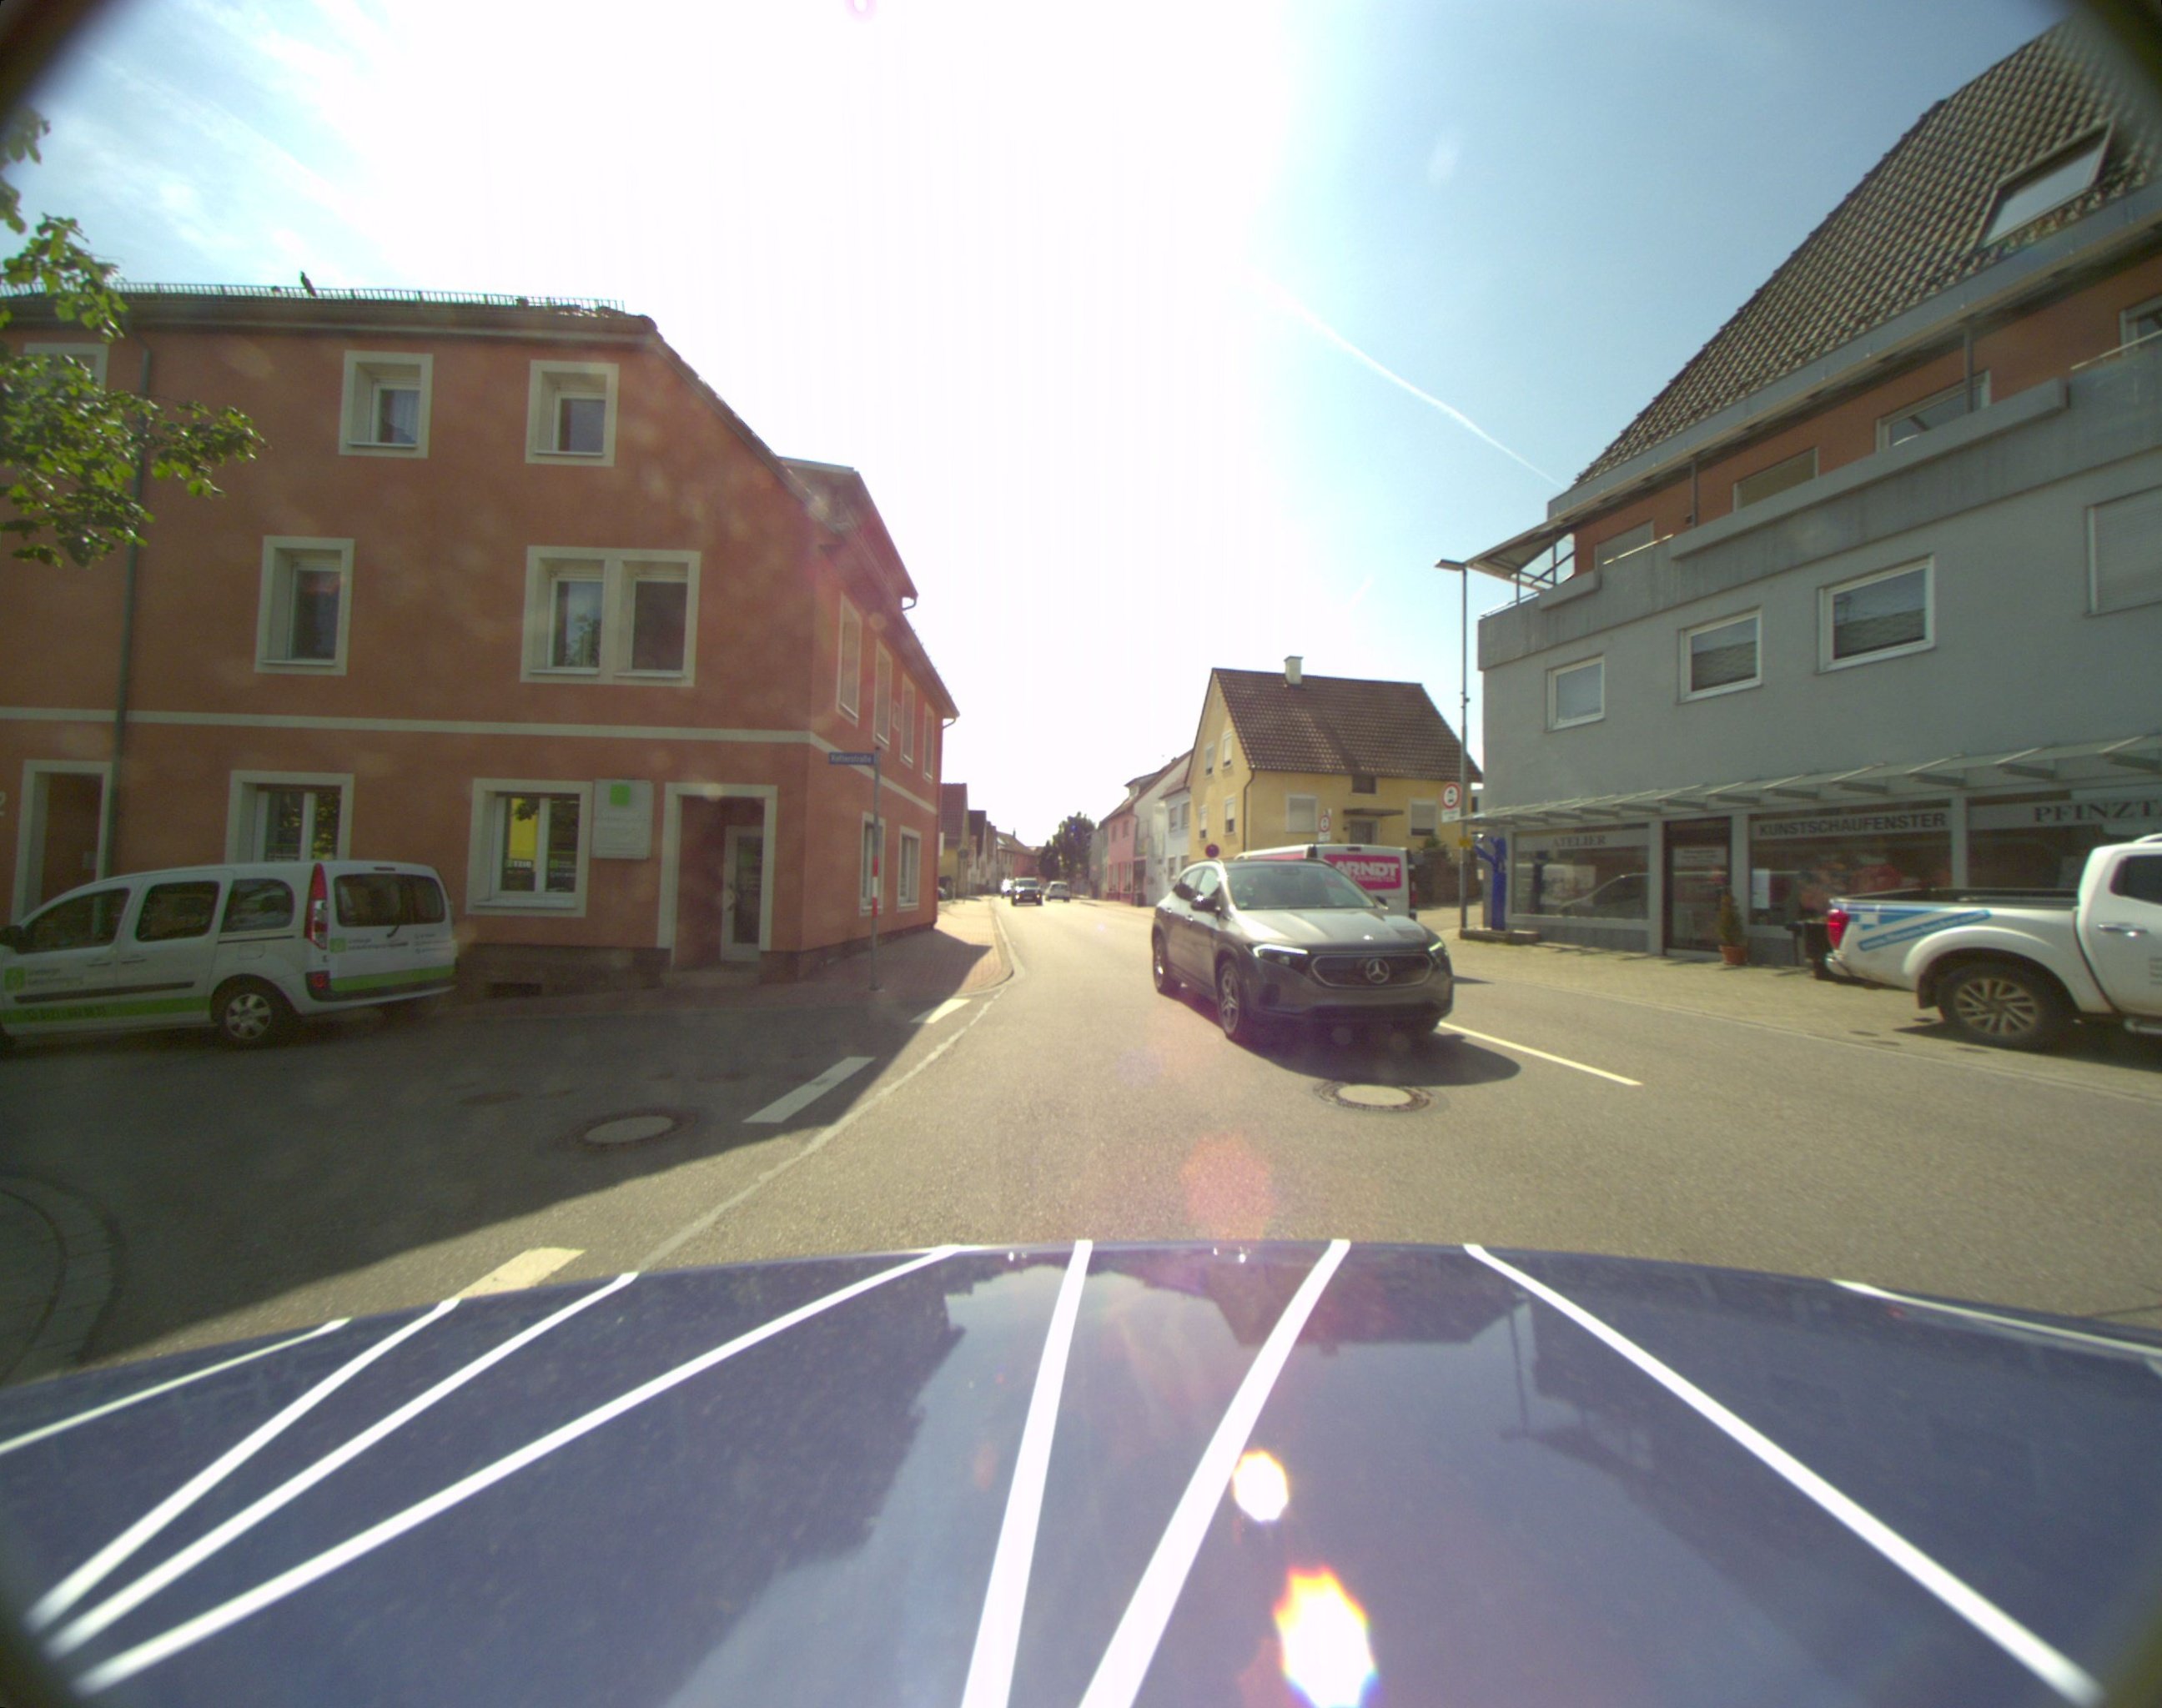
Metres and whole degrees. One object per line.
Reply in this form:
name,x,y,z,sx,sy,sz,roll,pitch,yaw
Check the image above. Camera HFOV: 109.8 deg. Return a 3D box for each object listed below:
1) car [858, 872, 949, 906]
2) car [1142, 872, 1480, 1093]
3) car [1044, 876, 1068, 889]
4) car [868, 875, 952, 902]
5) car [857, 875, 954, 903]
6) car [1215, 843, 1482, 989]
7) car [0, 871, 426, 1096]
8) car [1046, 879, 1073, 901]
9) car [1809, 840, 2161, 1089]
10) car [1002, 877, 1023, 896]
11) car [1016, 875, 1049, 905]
car,-9.843,1.943,42.378,4.648,1.799,1.965,0,0,-3
car,1.868,0.993,7.696,1.738,1.563,4.289,-1,-2,-6
car,-3.853,4.353,116.940,1.945,1.841,4.517,-1,-1,23
car,-10.208,2.054,45.575,4.648,1.488,1.911,1,-2,-3
car,-8.917,1.787,38.936,4.551,1.259,1.966,1,-2,-3
car,4.080,0.901,12.819,1.975,1.921,5.311,2,-1,-8
car,-9.100,1.157,7.242,4.097,1.743,1.813,-3,0,1
car,-1.651,2.665,57.141,1.734,1.532,3.811,2,-2,-7
car,8.973,0.782,5.352,1.811,1.787,5.280,-3,-1,-16
car,-6.151,2.886,67.785,1.781,1.533,4.096,0,0,-7
car,-3.001,2.149,46.088,1.793,1.642,4.391,1,0,-6
